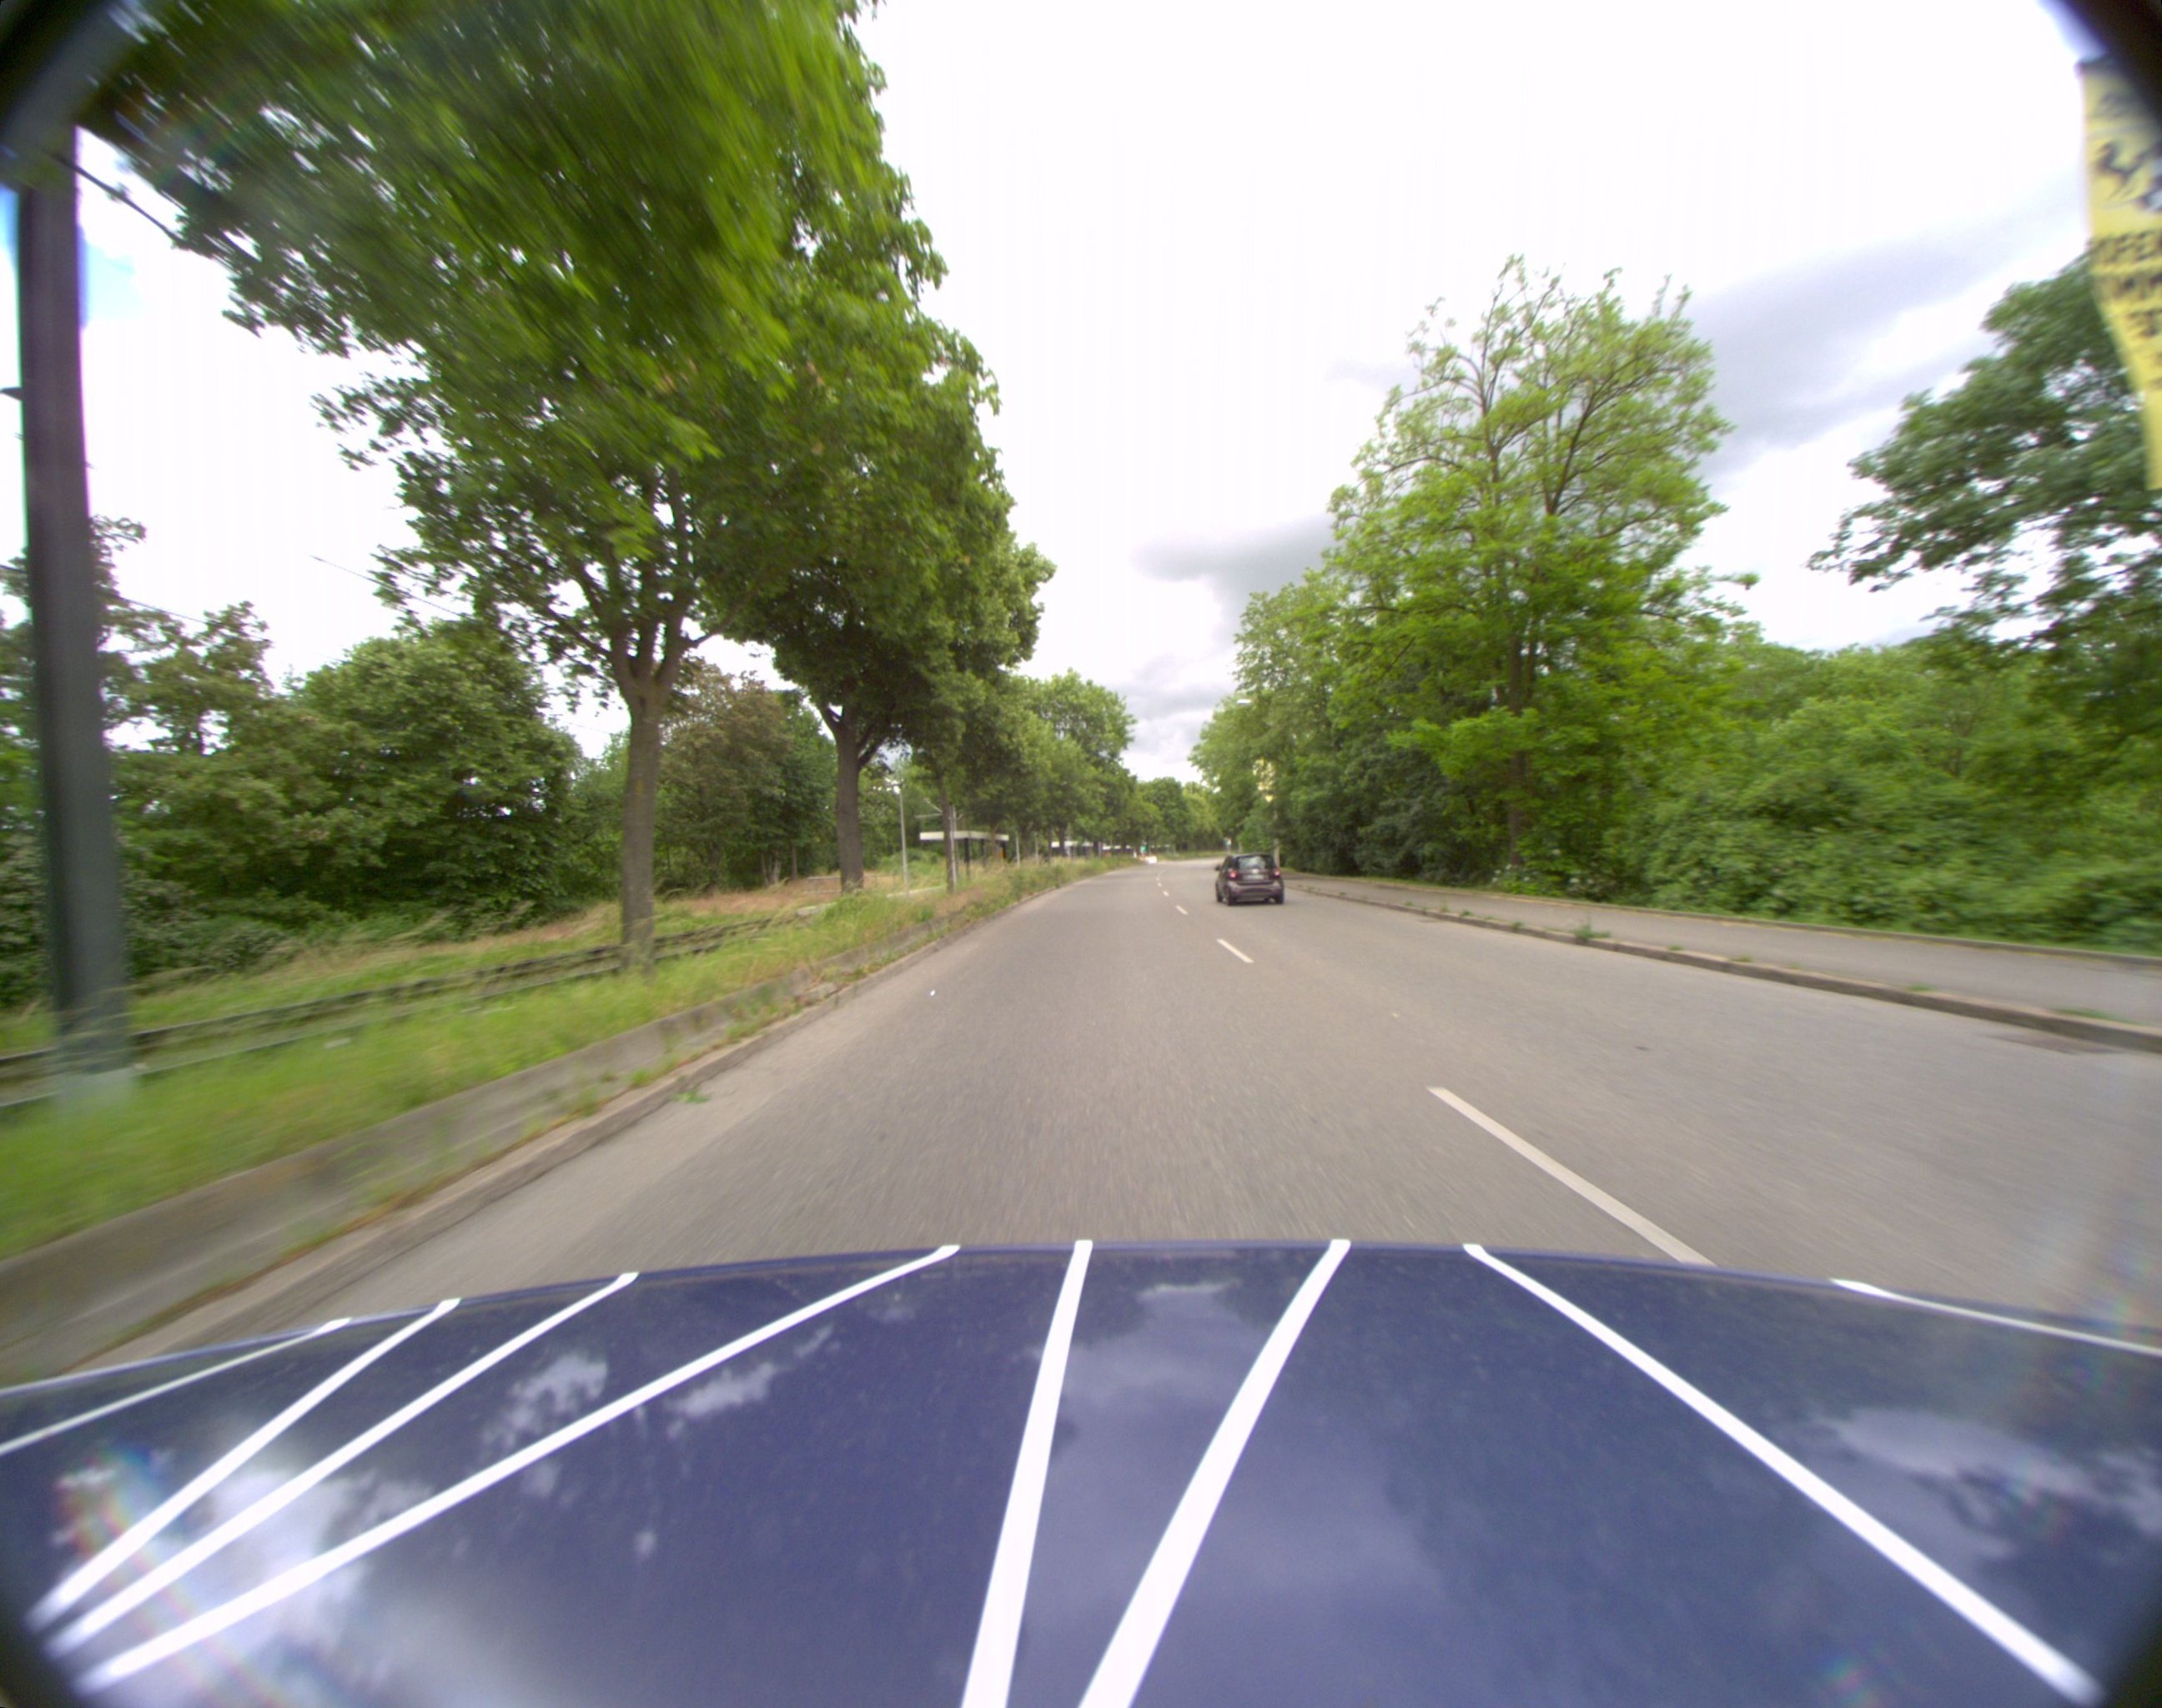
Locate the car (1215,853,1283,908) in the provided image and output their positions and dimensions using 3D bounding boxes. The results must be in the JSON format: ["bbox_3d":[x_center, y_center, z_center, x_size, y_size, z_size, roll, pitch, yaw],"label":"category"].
[{"bbox_3d":[5.027,0.764,23.041,1.599,1.497,3.029,-2,0,5],"label":"car"}]

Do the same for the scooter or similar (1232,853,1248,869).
[{"bbox_3d":[12.499,0.568,59.891,0.366,1.177,1.294,-4,0,-33],"label":"scooter or similar"}]
